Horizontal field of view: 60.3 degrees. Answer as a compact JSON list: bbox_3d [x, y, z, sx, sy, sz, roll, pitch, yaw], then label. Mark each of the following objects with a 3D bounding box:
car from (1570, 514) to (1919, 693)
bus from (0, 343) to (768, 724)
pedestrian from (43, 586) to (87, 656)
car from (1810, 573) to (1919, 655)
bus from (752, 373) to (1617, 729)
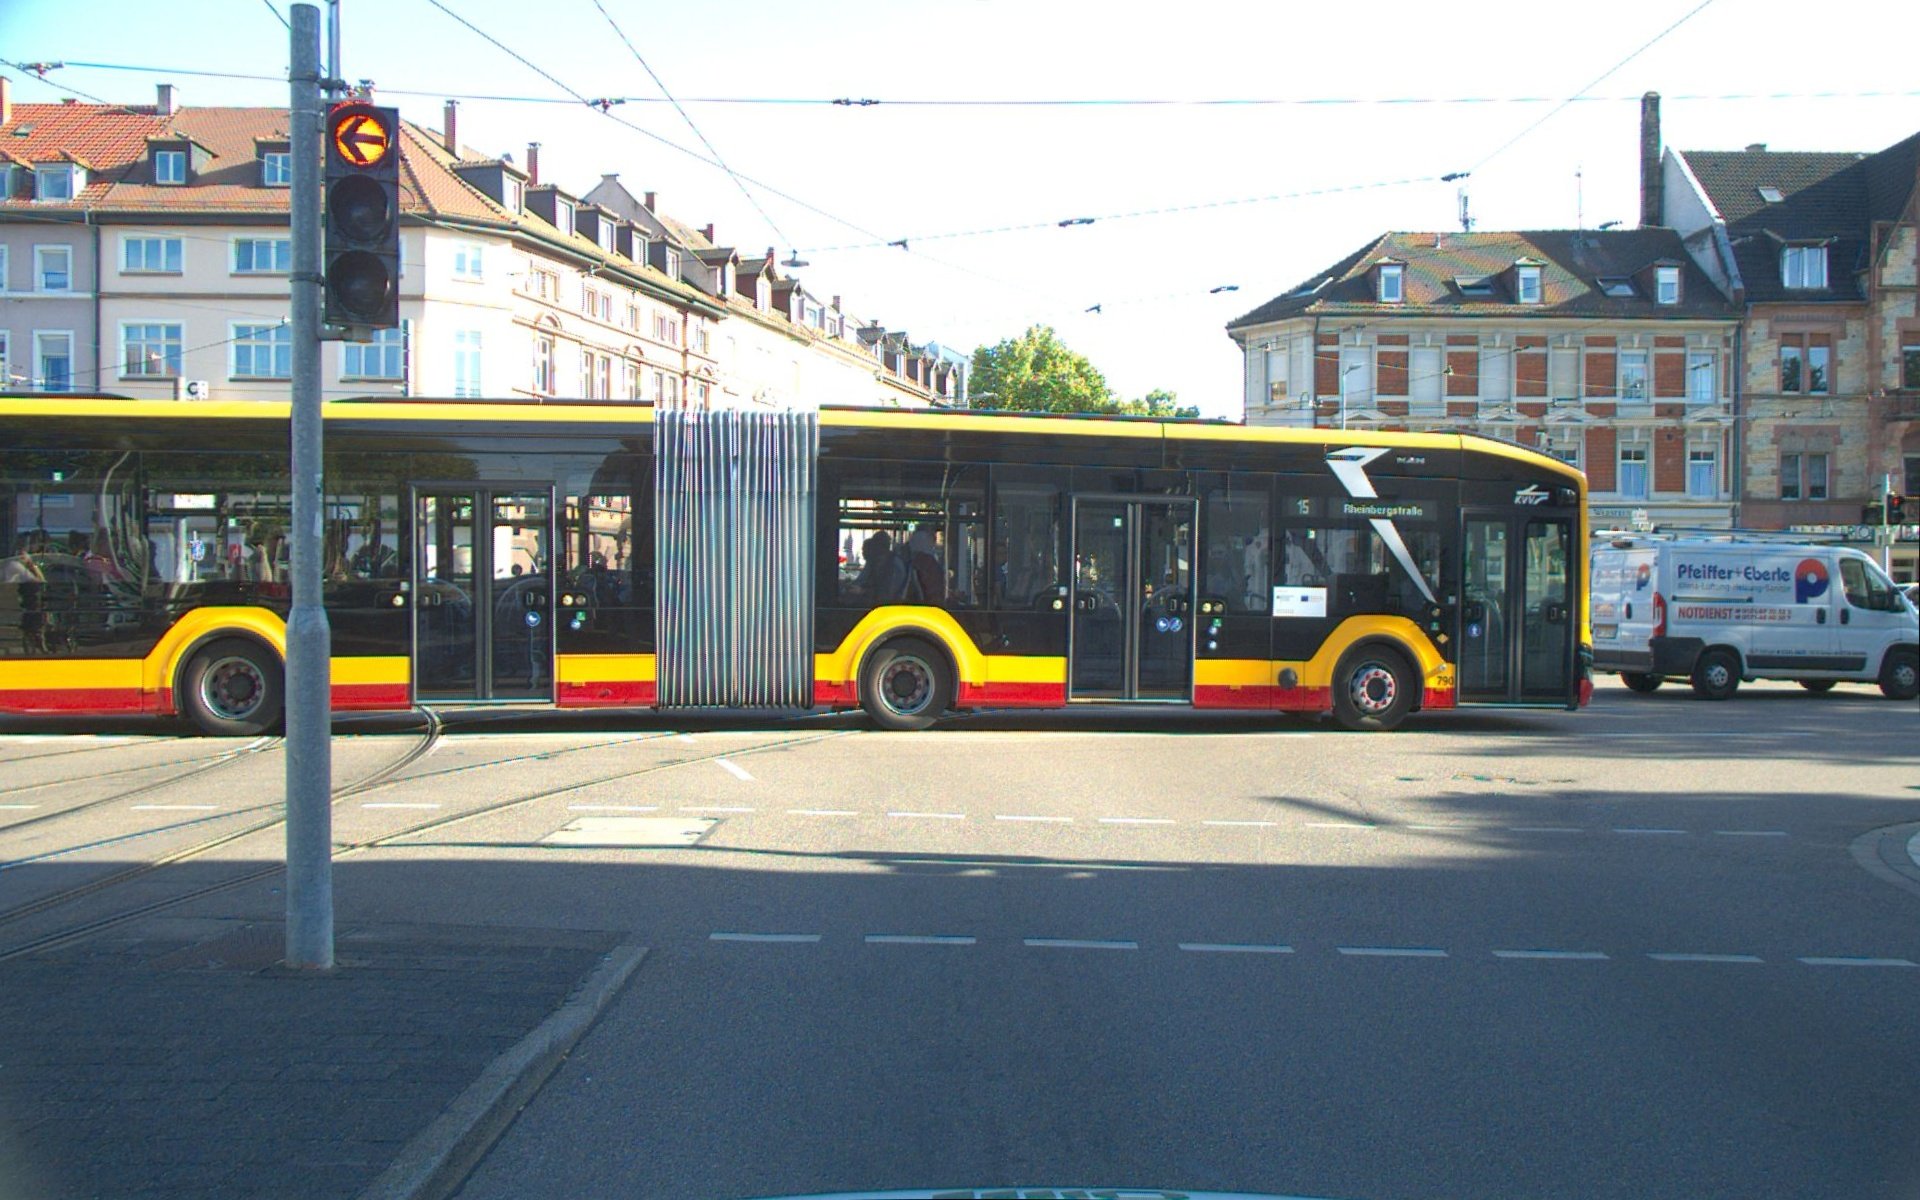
[{"bbox_3d":[11.818,0.069,24.274,5.016,2.475,2.077,0,0,-9],"label":"car"},{"bbox_3d":[-6.327,-0.615,17.288,8.454,3.517,2.782,1,1,-9],"label":"bus"},{"bbox_3d":[-21.935,0.512,40.555,0.725,1.711,0.628,0,0,-1],"label":"pedestrian"},{"bbox_3d":[24.899,0.348,42.754,4.879,2.049,2.000,0,0,-1],"label":"car"},{"bbox_3d":[2.354,-0.461,18.666,9.237,3.517,2.775,1,1,-9],"label":"bus"}]
